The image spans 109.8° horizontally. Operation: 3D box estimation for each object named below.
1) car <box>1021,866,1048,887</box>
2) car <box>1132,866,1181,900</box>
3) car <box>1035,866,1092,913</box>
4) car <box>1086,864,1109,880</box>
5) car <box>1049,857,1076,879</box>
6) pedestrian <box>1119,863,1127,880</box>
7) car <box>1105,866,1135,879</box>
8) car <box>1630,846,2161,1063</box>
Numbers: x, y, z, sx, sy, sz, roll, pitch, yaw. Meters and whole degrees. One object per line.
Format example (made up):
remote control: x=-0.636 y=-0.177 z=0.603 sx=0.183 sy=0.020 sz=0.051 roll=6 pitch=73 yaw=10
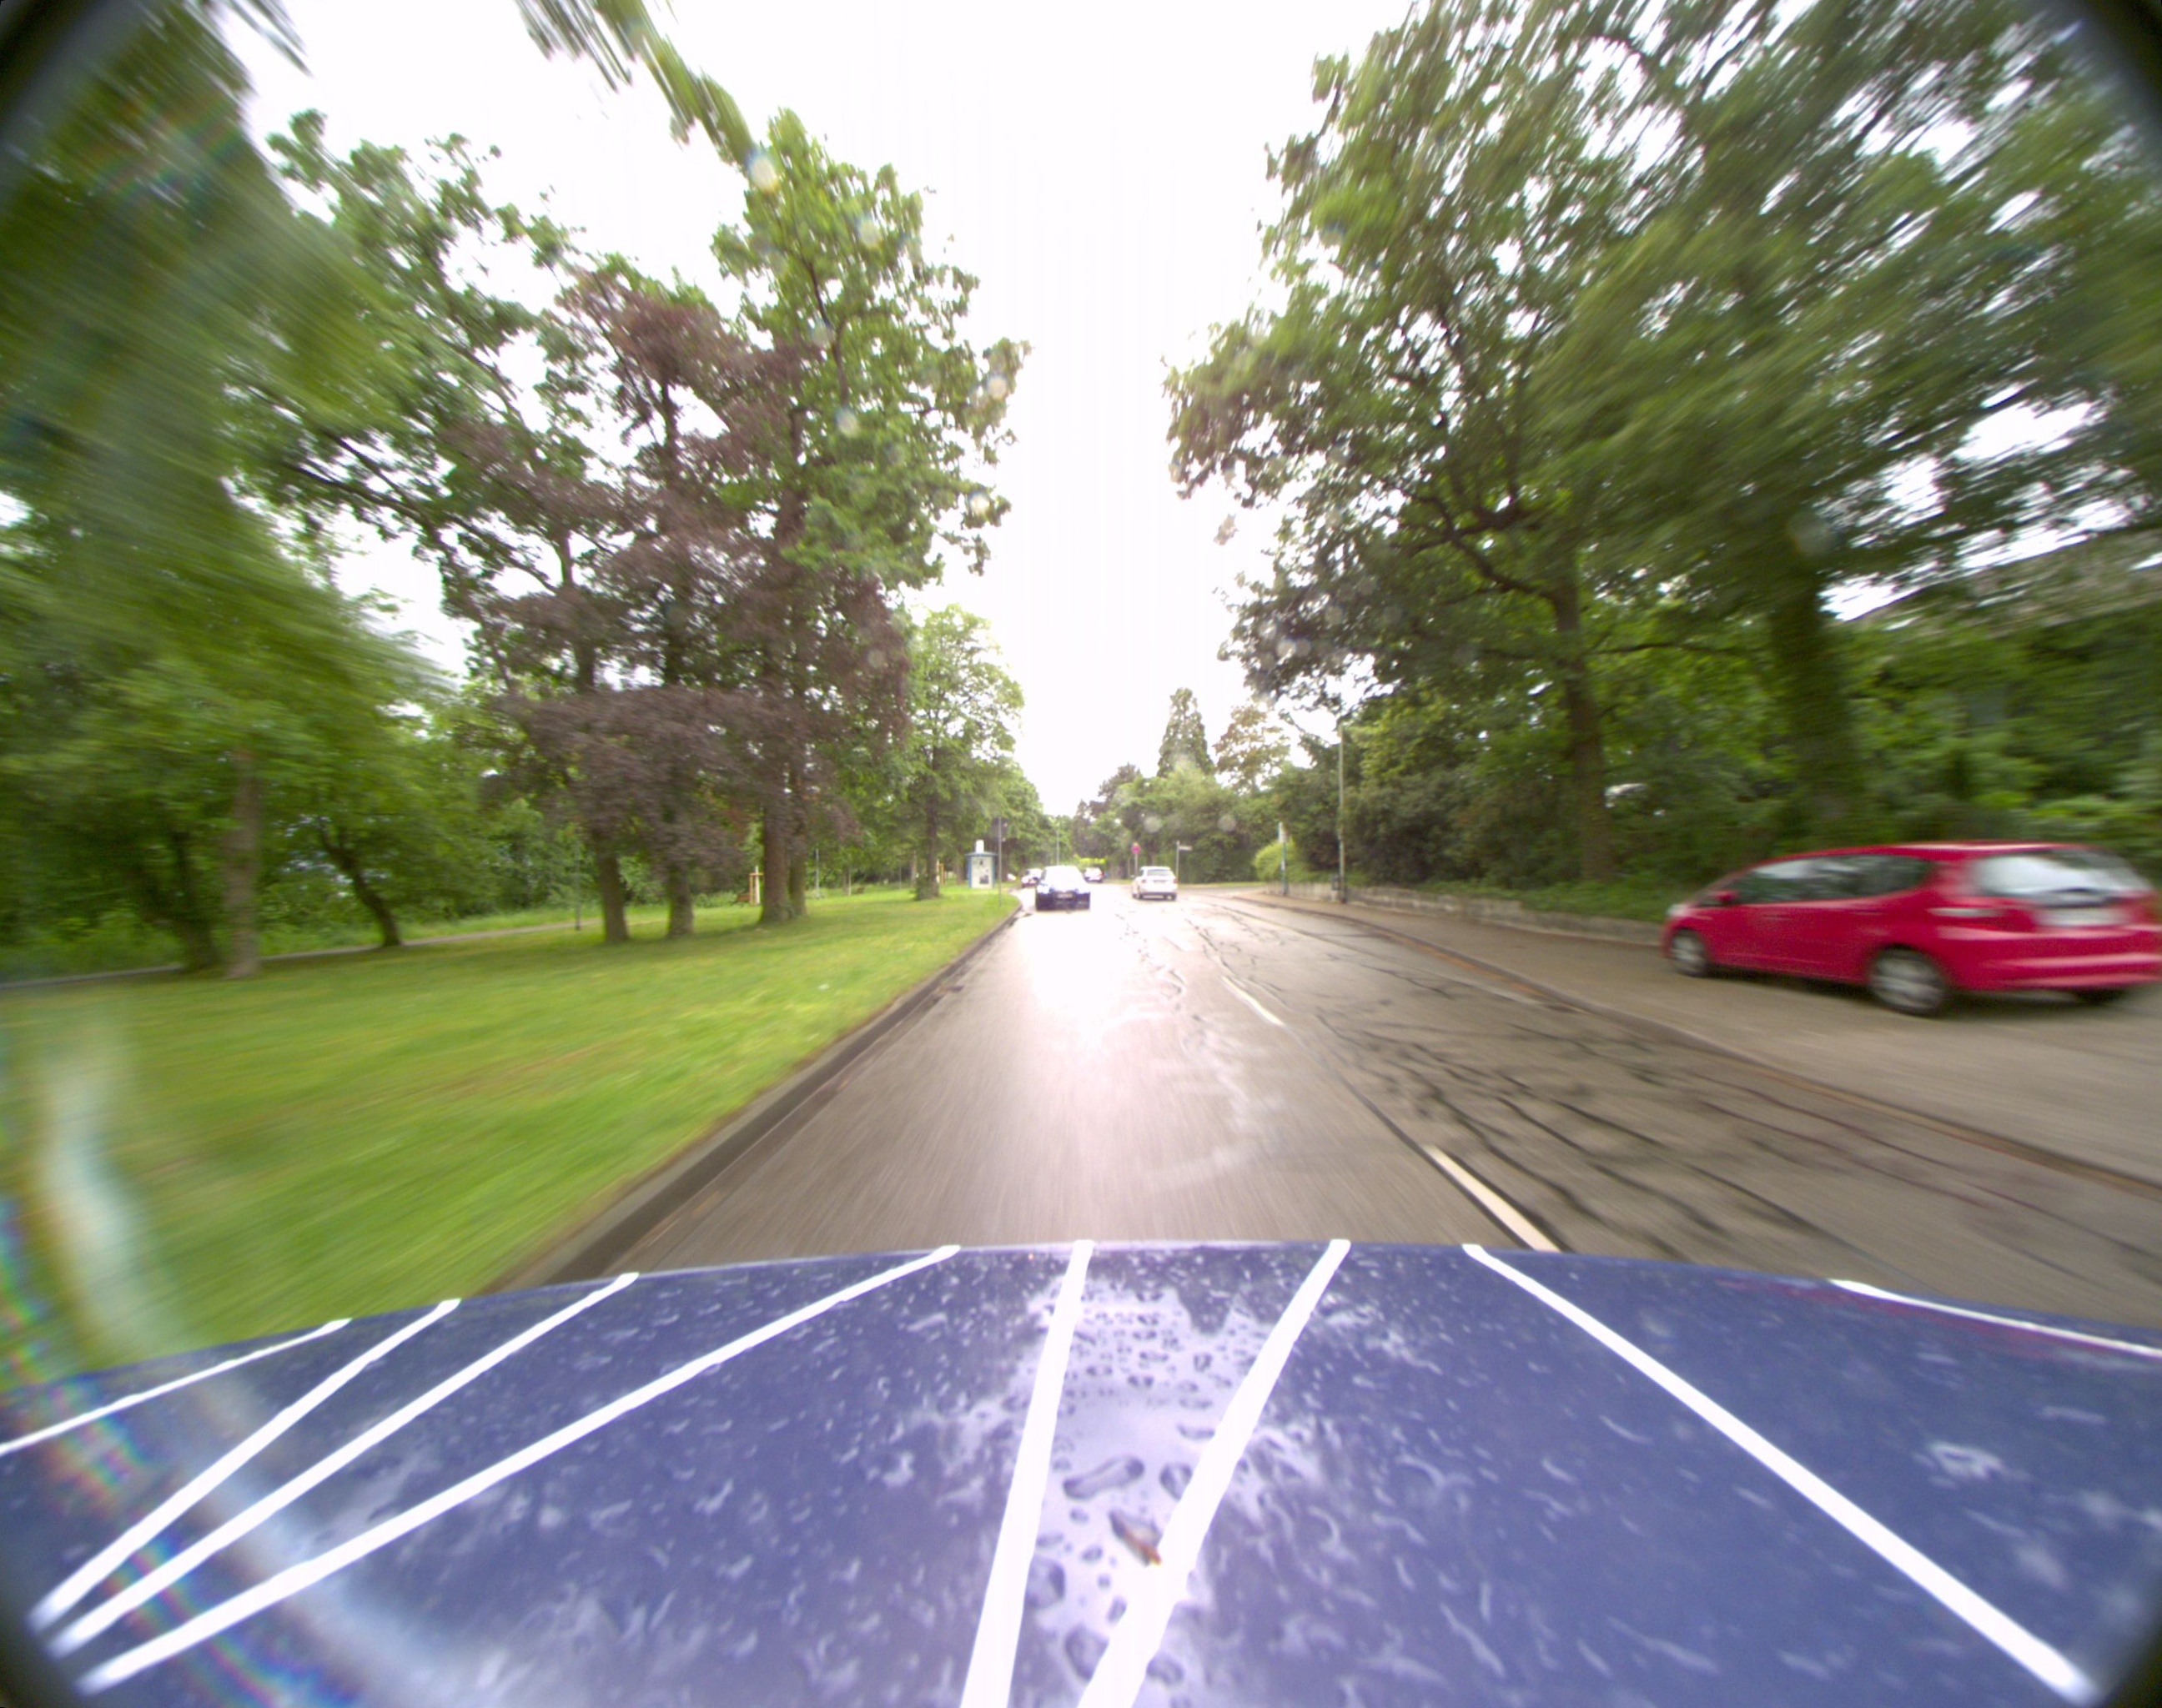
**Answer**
car: x=-3.559 y=1.718 z=58.943 sx=1.839 sy=1.501 sz=4.000 roll=-1 pitch=-1 yaw=-1
car: x=3.346 y=1.245 z=34.253 sx=1.705 sy=1.402 sz=4.008 roll=1 pitch=-1 yaw=-1
car: x=-0.603 y=1.194 z=27.104 sx=1.839 sy=1.501 sz=4.000 roll=-1 pitch=-1 yaw=-1
car: x=1.497 y=1.661 z=70.633 sx=1.795 sy=1.414 sz=4.358 roll=1 pitch=-1 yaw=-3
car: x=-1.266 y=0.984 z=53.698 sx=1.839 sy=1.501 sz=4.000 roll=-1 pitch=-1 yaw=-1
pedestrian: x=4.566 y=1.930 z=82.296 sx=0.713 sy=1.819 sz=0.881 roll=-2 pitch=0 yaw=1
car: x=5.435 y=2.595 z=105.744 sx=3.864 sy=1.577 sz=1.817 roll=-2 pitch=-1 yaw=-8
car: x=8.098 y=0.782 z=7.840 sx=1.998 sy=1.507 sz=4.001 roll=-5 pitch=0 yaw=3
